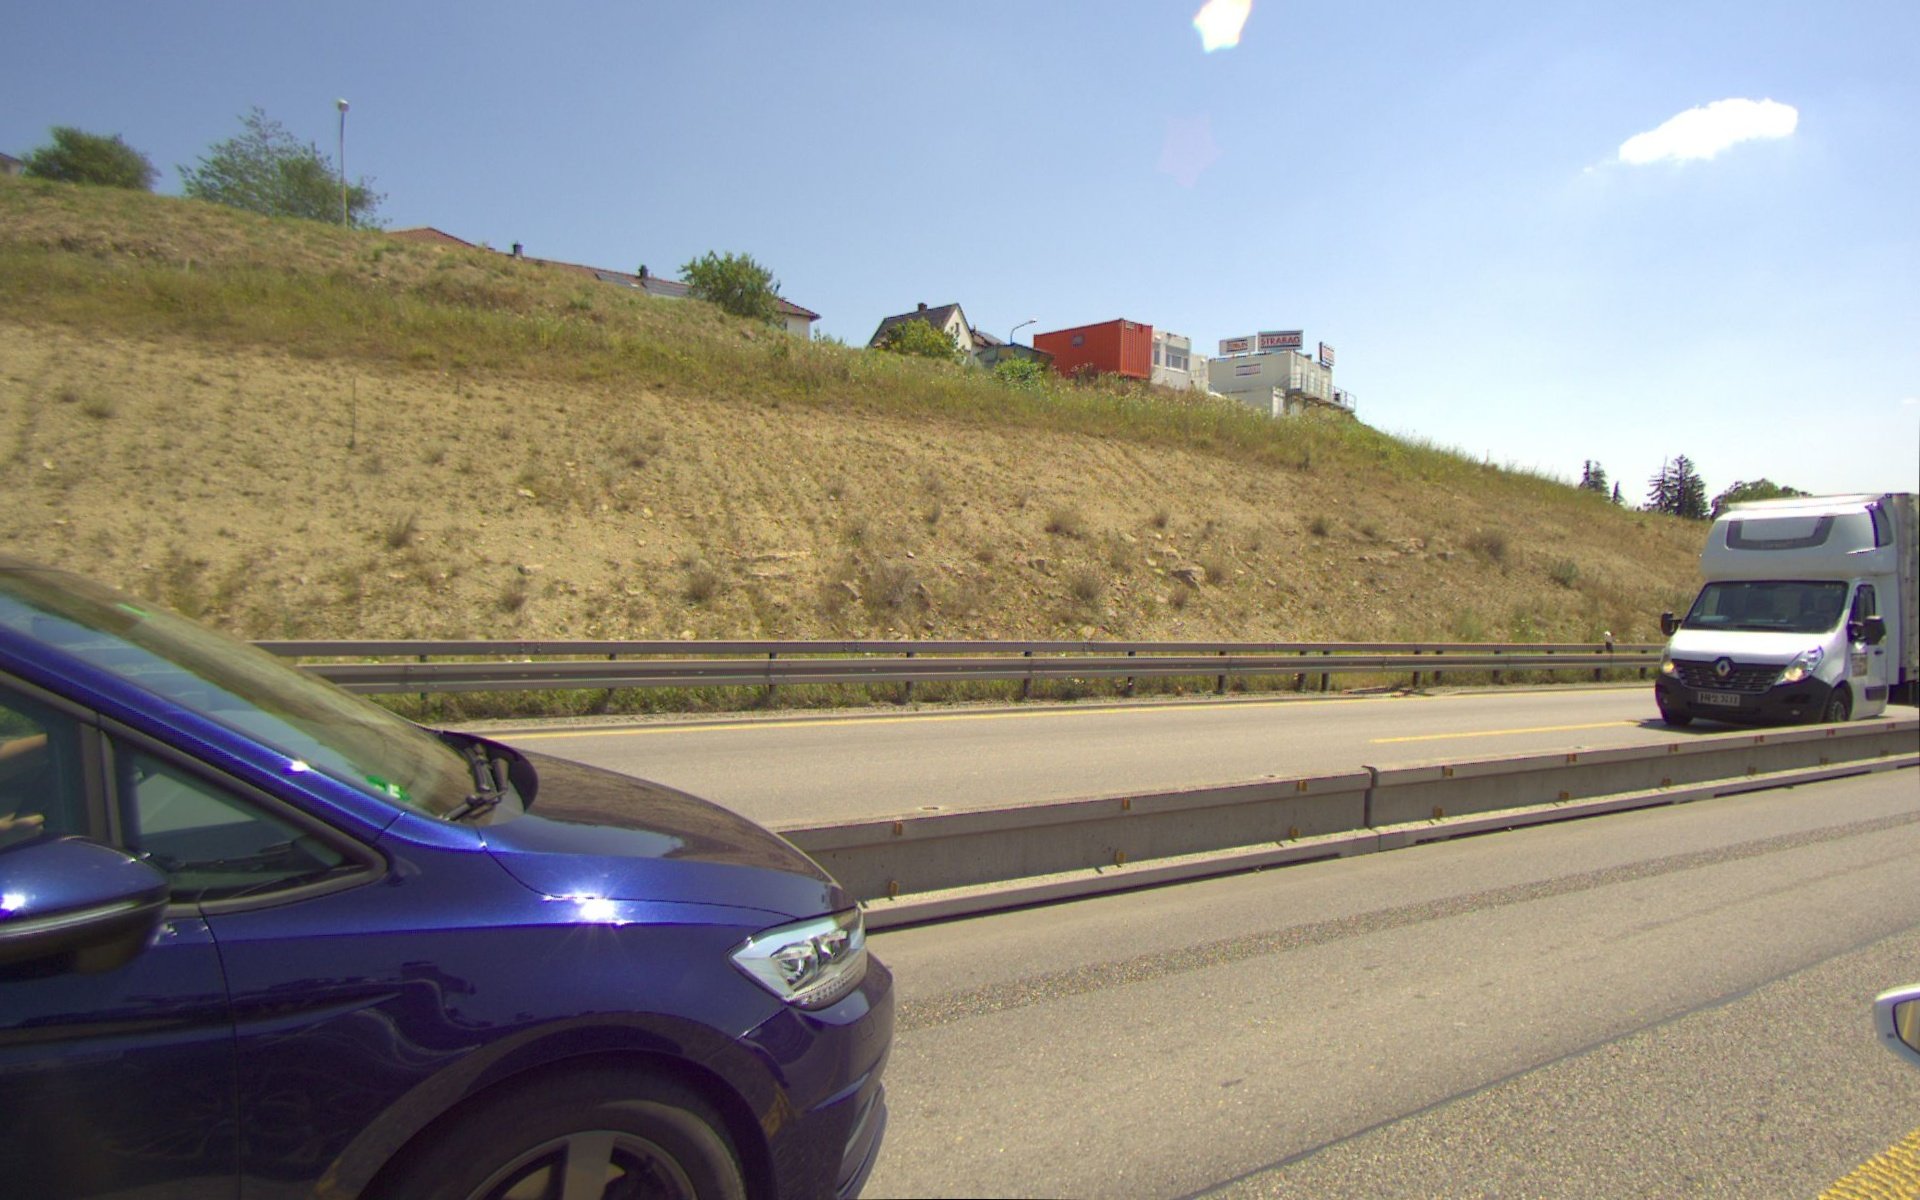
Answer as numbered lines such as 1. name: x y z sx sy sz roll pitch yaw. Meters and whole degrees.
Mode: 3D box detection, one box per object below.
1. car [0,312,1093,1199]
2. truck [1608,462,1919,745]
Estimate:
1. car: -2.137 0.492 1.767 4.597 1.741 1.767 0 1 -30
2. truck: 12.906 0.088 15.033 6.956 3.419 2.525 1 1 -31
